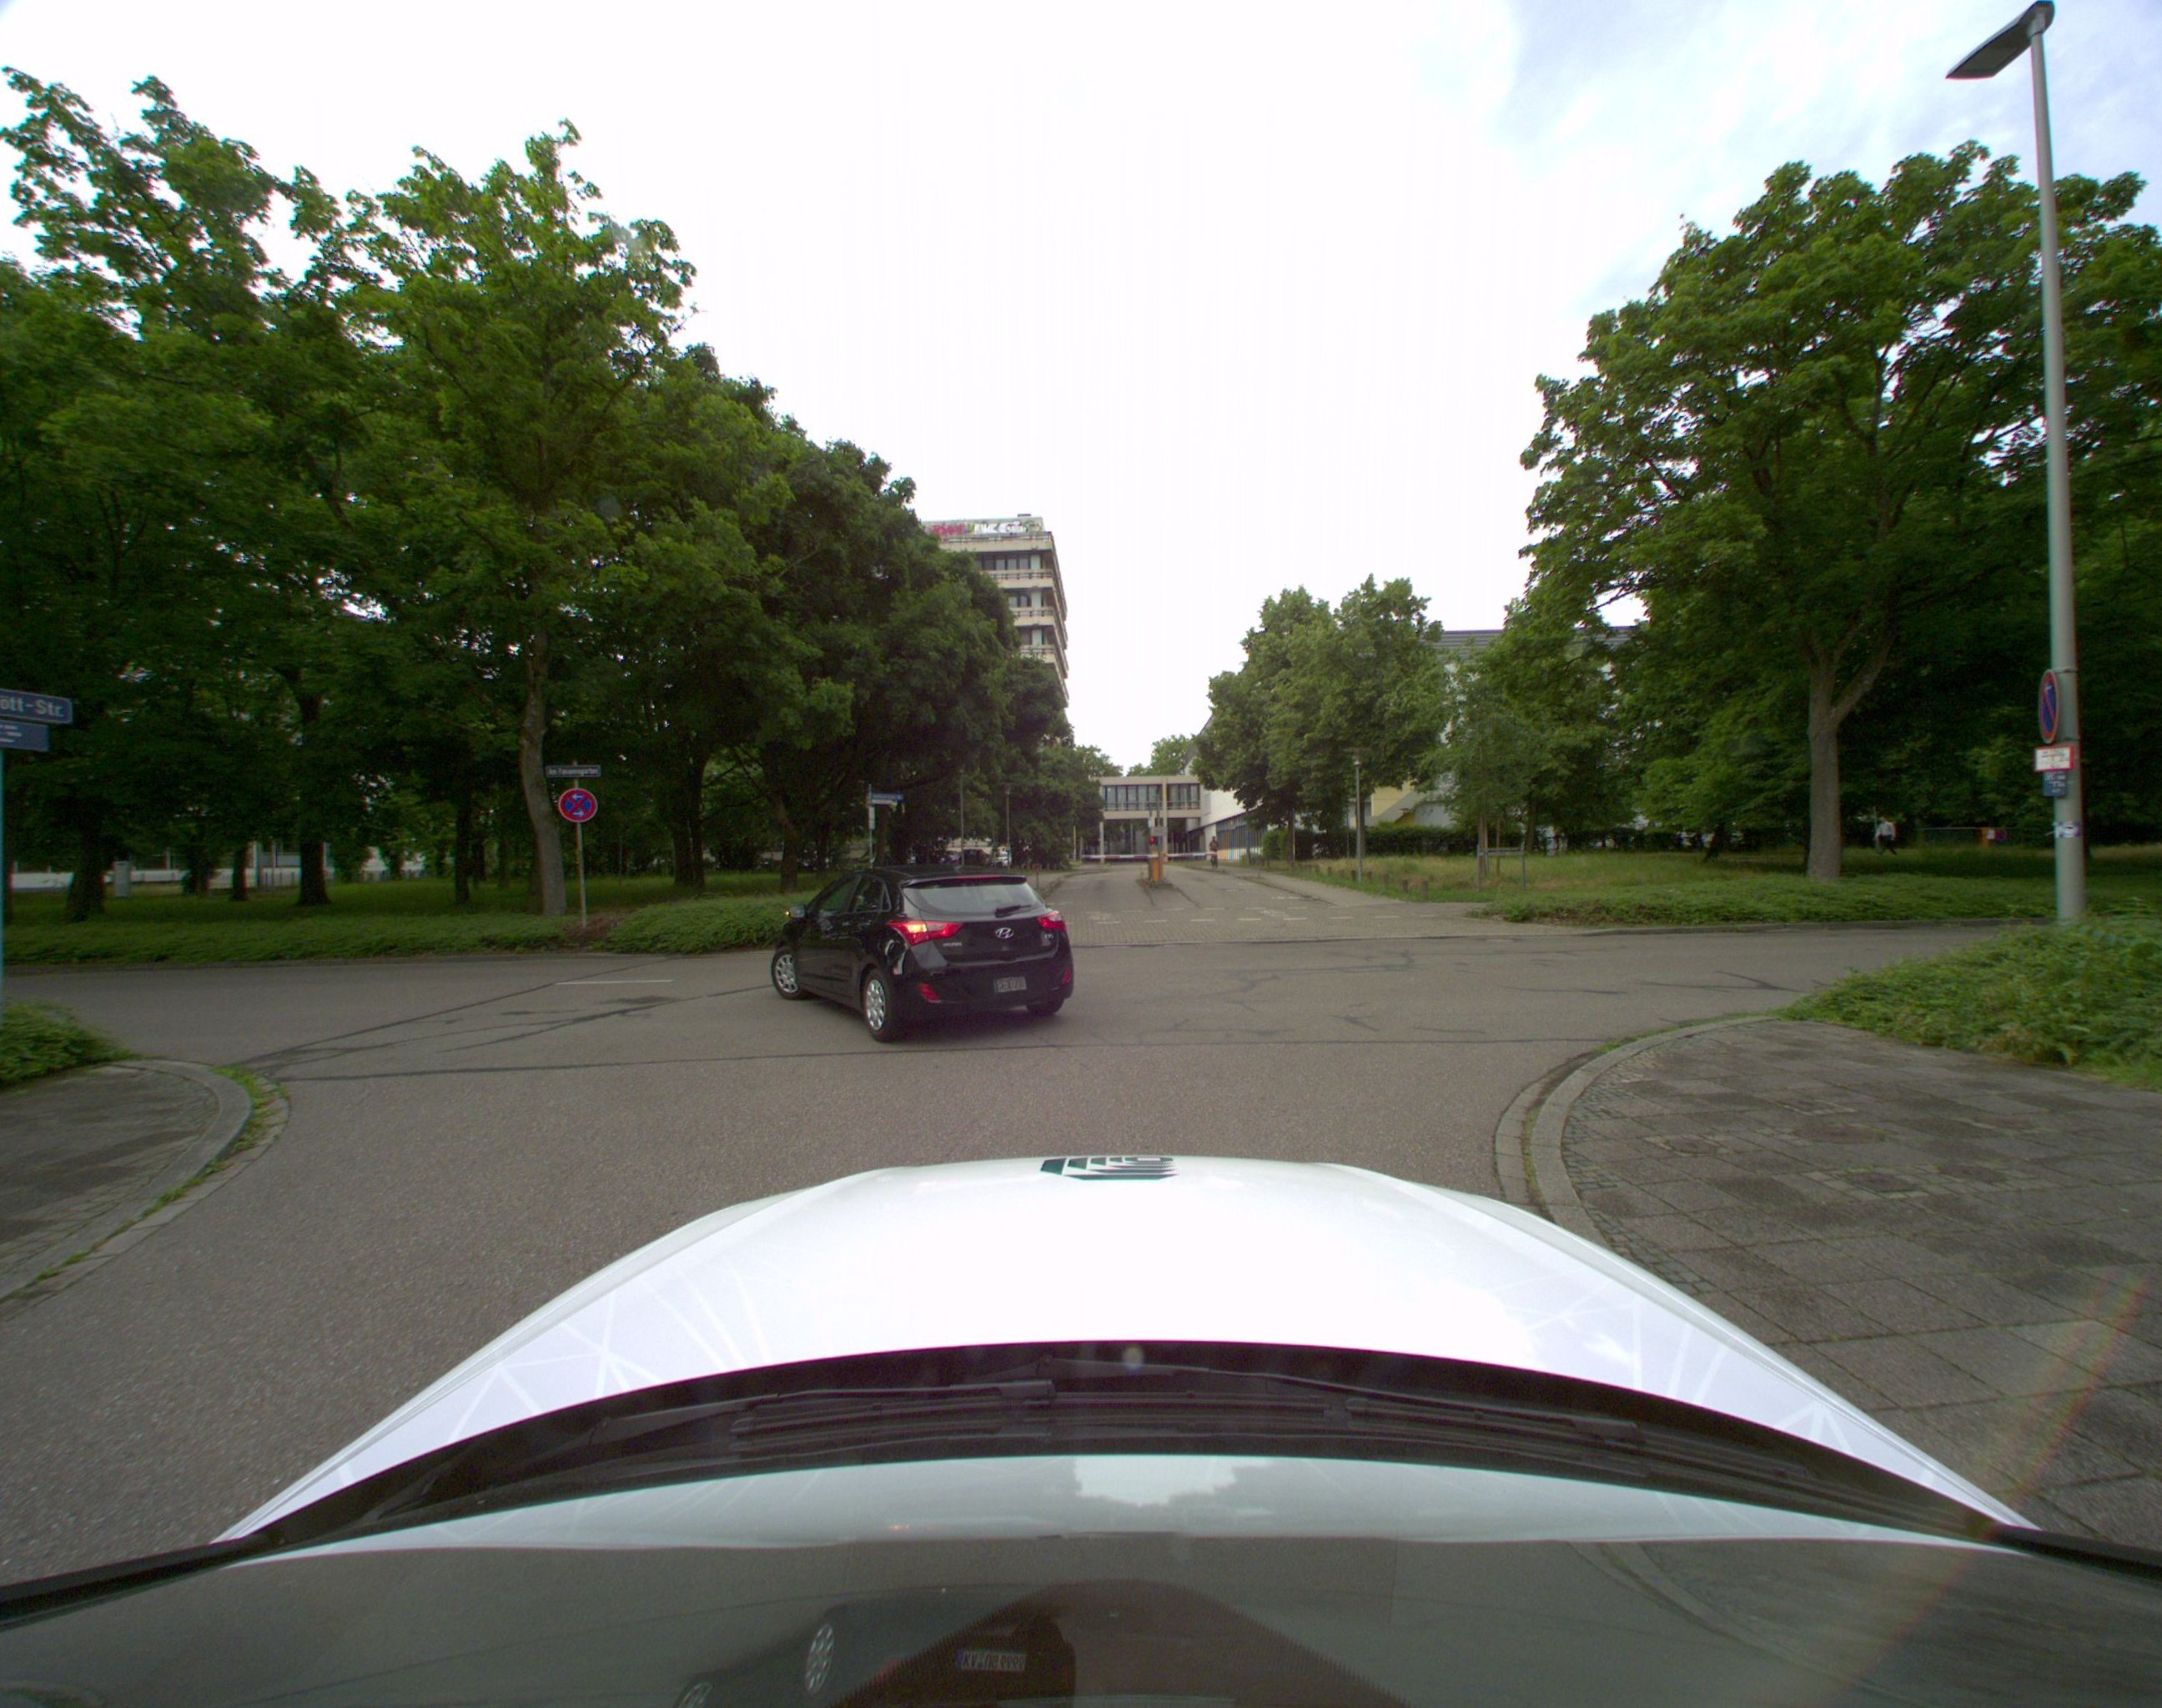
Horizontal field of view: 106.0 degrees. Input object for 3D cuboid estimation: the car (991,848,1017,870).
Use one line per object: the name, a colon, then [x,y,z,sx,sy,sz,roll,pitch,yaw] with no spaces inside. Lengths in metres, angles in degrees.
car: [-6.568,0.449,70.049,1.989,1.762,3.995,-1,-1,-3]

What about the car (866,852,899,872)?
car: [-16.961,0.634,69.826,1.989,1.618,3.996,-1,0,-3]

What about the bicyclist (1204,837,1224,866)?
bicyclist: [7.744,-0.162,47.453,1.013,1.644,0.923,-1,0,2]

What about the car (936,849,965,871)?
car: [-11.149,0.530,70.031,1.989,1.794,3.995,-1,-2,-3]

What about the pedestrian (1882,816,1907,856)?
pedestrian: [37.107,-0.818,37.143,0.567,1.798,0.545,-1,1,11]

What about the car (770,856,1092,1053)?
car: [-1.730,0.787,8.242,1.859,1.462,3.787,-1,-1,-34]

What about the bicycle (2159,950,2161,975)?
bicycle: [4.098,0.795,1.910,0.565,1.004,1.888,-3,-2,1]

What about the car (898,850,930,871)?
car: [-14.251,0.583,69.732,1.989,1.728,3.995,-1,-2,-3]

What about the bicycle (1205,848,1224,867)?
bicycle: [7.773,0.188,47.473,0.863,1.074,2.143,-1,0,2]
